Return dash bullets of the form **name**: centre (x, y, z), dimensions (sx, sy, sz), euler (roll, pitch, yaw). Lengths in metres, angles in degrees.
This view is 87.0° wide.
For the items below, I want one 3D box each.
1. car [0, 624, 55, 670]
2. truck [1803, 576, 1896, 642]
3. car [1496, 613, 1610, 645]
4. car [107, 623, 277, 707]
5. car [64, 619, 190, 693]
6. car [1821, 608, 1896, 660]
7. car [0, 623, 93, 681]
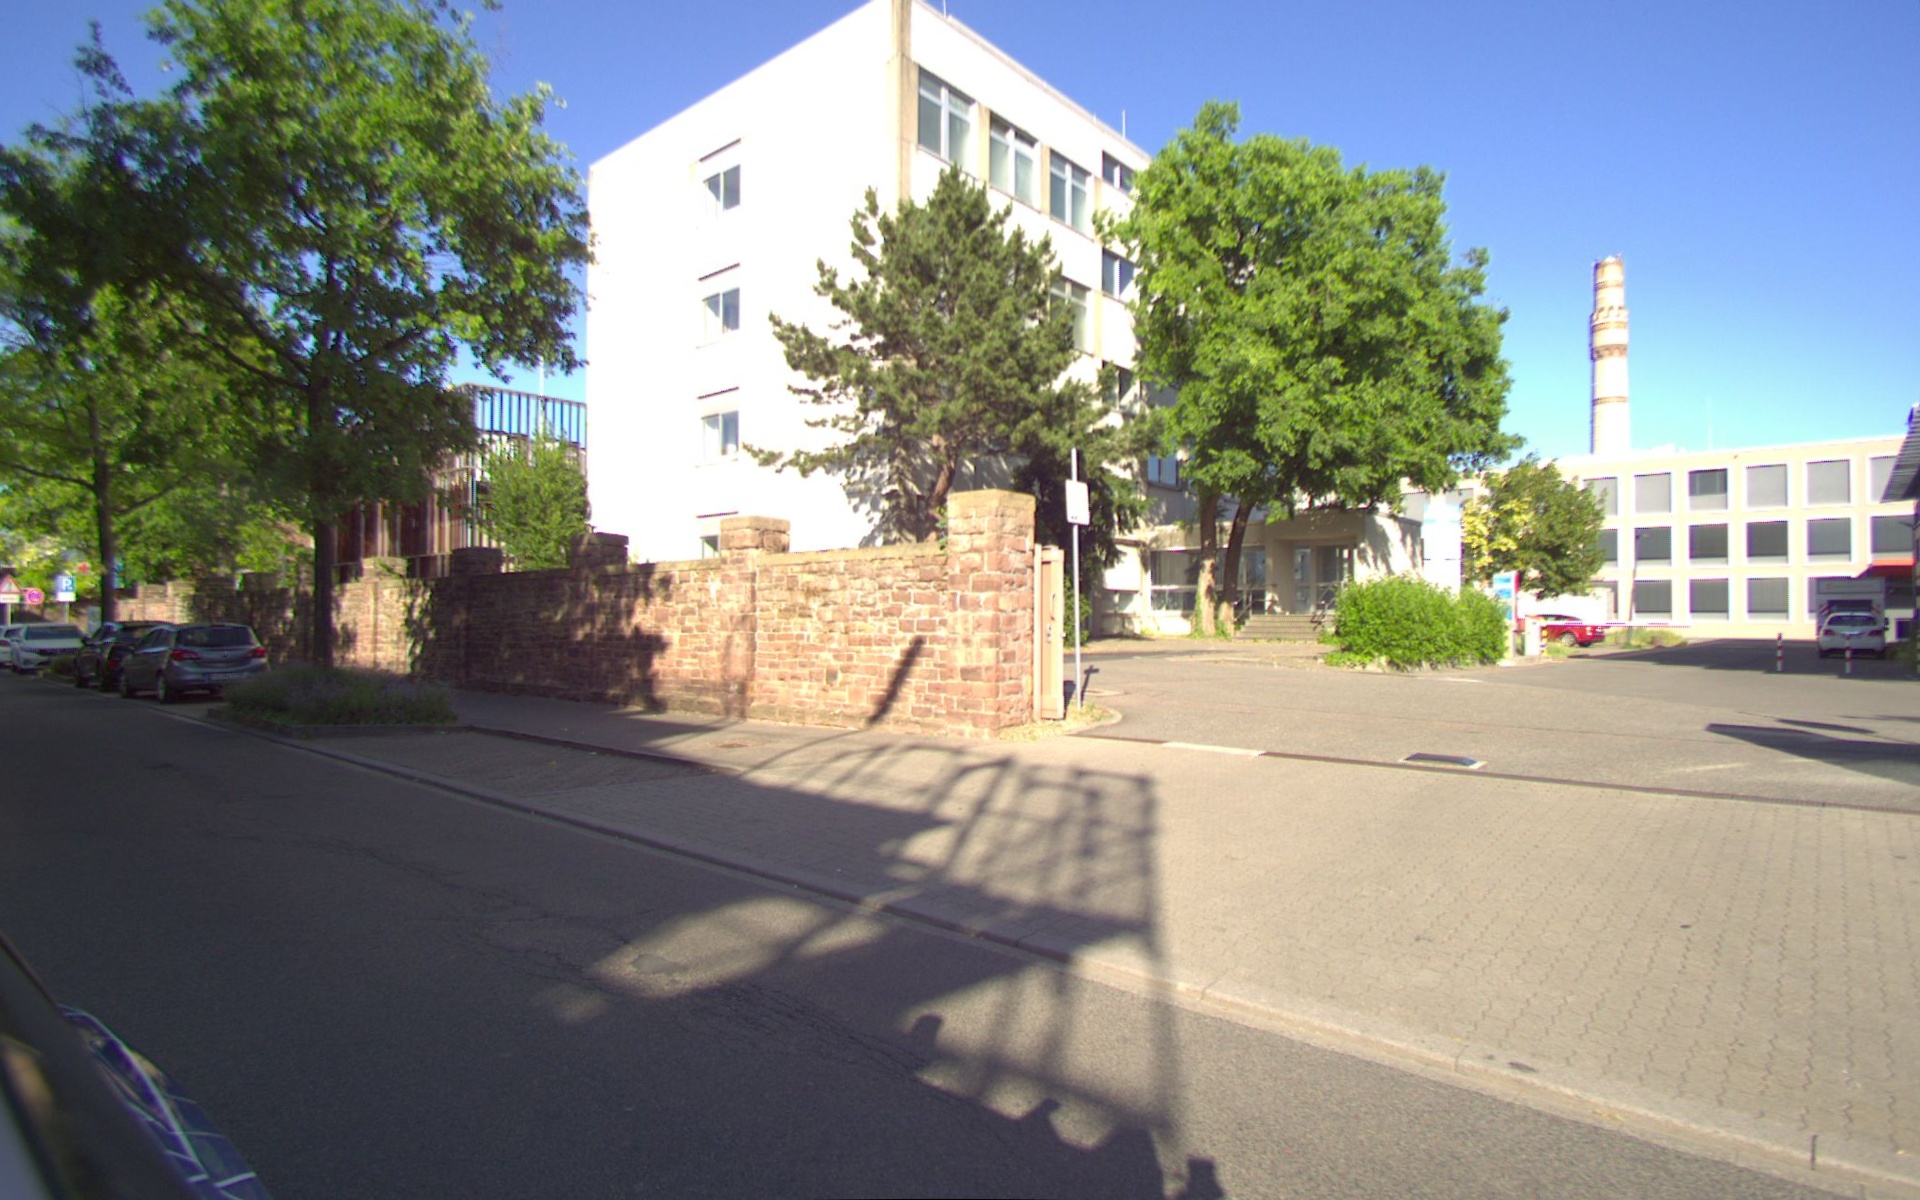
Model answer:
- **car**: centre (-32.534, 1.605, 34.811), dimensions (3.748, 1.412, 1.558), euler (-1, 2, 40)
- **truck**: centre (36.360, 0.296, 41.535), dimensions (2.417, 2.497, 5.831), euler (-1, 0, 37)
- **car**: centre (26.582, 1.272, 45.440), dimensions (1.970, 1.357, 4.004), euler (0, -1, -43)
- **car**: centre (-15.095, 1.205, 19.831), dimensions (3.832, 1.432, 1.671), euler (-1, 0, 37)
- **car**: centre (-19.106, 1.219, 23.160), dimensions (4.042, 1.526, 1.557), euler (-1, -1, 40)
- **car**: centre (31.137, 1.137, 35.167), dimensions (1.815, 1.678, 3.600), euler (-1, 0, 40)
- **car**: centre (-27.637, 1.525, 30.554), dimensions (3.848, 1.522, 1.659), euler (-1, 2, 42)
